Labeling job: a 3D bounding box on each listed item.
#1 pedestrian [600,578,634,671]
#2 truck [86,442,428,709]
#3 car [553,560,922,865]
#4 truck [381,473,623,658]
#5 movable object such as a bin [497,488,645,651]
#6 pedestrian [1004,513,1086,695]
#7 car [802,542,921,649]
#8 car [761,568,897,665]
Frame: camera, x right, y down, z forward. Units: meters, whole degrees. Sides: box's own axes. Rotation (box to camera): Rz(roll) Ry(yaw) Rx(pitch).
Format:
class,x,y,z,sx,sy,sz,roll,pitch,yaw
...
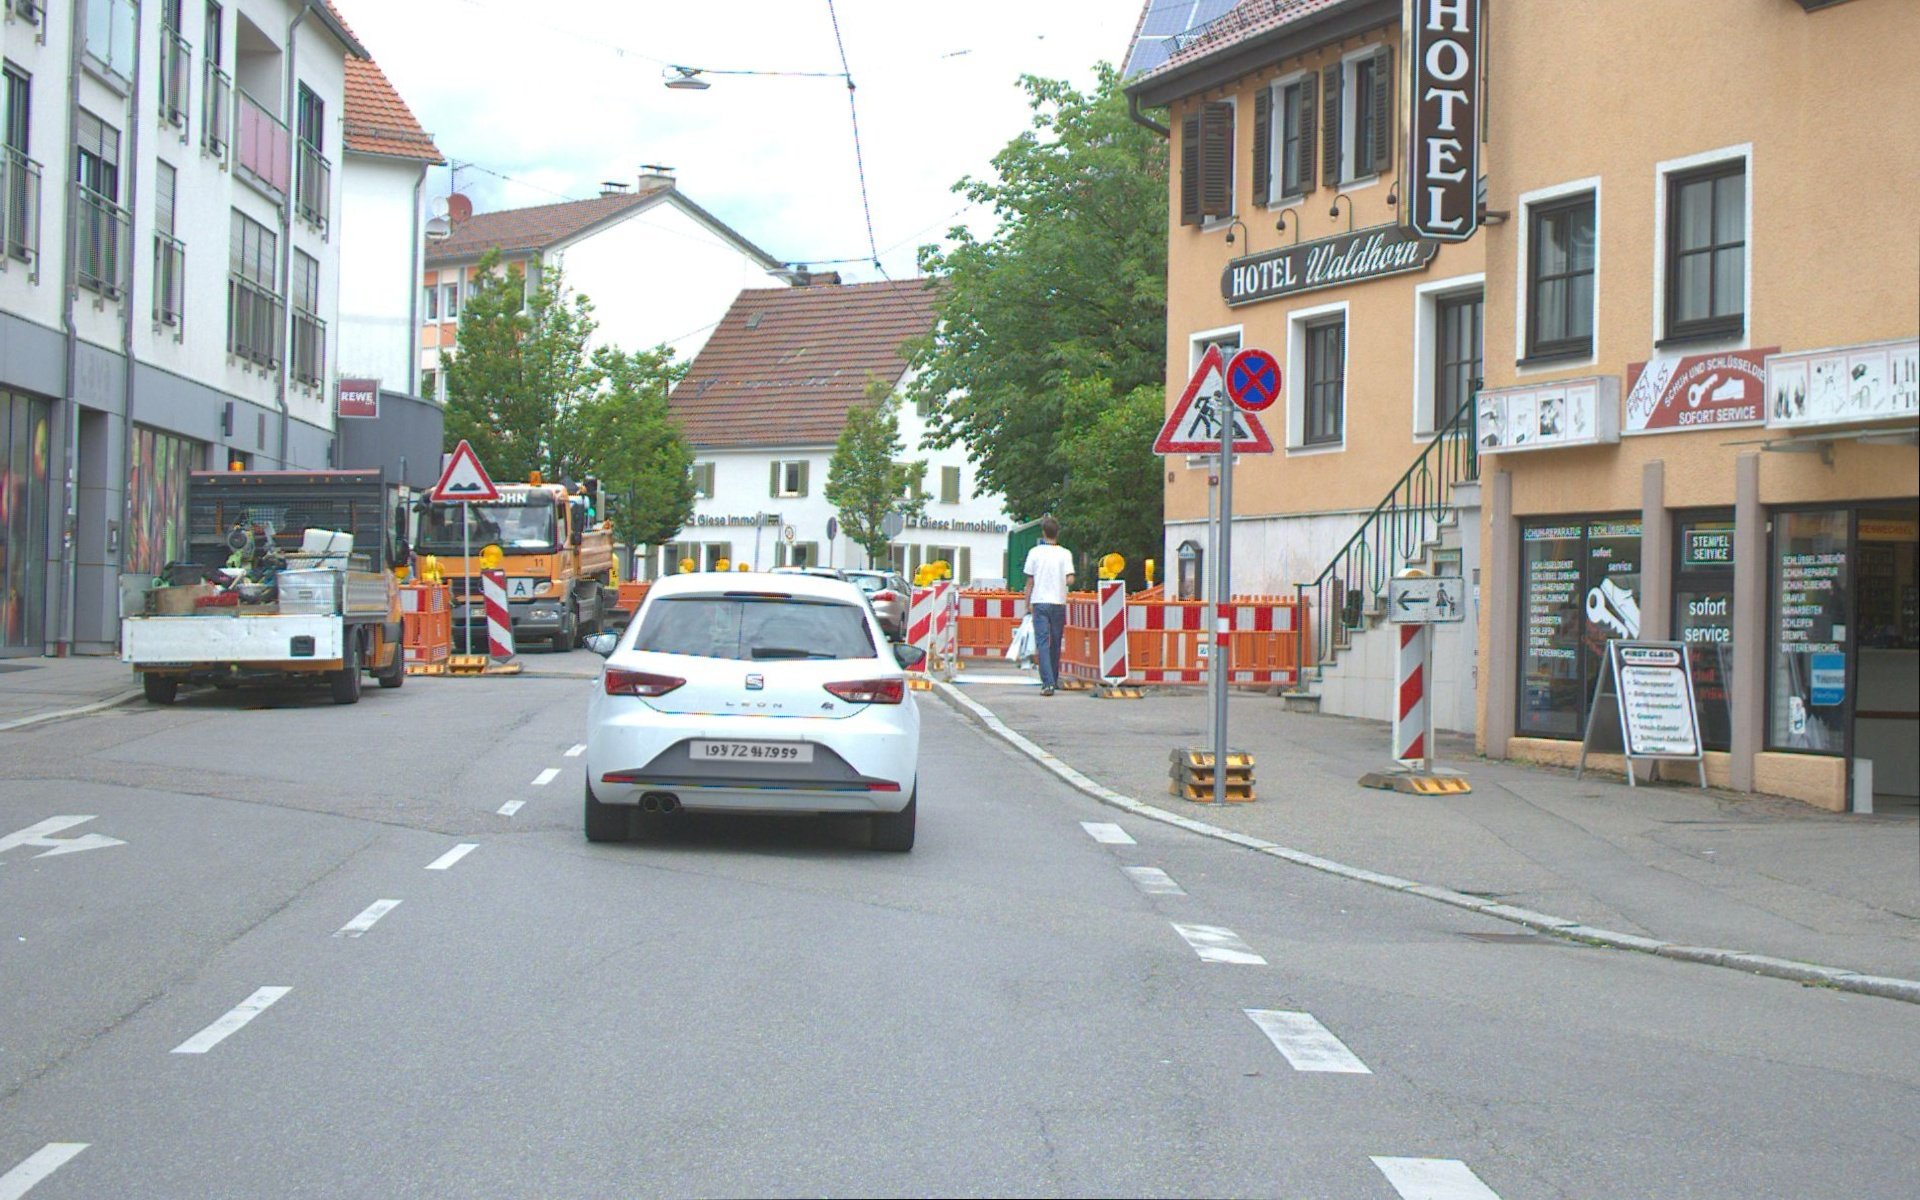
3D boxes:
class,x,y,z,sx,sy,sz,roll,pitch,yaw
pedestrian,-6.415,0.457,64.318,0.537,1.738,0.443,1,0,5
truck,-6.986,-0.274,34.929,2.413,2.457,6.308,0,1,-2
car,-1.183,0.540,19.126,1.811,1.475,3.871,1,1,-2
truck,-7.157,-0.563,54.580,2.731,2.715,6.847,1,1,1
movable object such as a bin,-6.818,-0.484,60.717,1.839,2.754,4.505,1,-1,3
pedestrian,0.920,0.039,37.257,0.798,1.943,0.836,0,1,-4
car,-1.892,-0.078,67.401,1.994,2.007,3.999,1,0,3
car,-2.089,0.242,55.935,1.812,1.475,3.870,1,1,4
